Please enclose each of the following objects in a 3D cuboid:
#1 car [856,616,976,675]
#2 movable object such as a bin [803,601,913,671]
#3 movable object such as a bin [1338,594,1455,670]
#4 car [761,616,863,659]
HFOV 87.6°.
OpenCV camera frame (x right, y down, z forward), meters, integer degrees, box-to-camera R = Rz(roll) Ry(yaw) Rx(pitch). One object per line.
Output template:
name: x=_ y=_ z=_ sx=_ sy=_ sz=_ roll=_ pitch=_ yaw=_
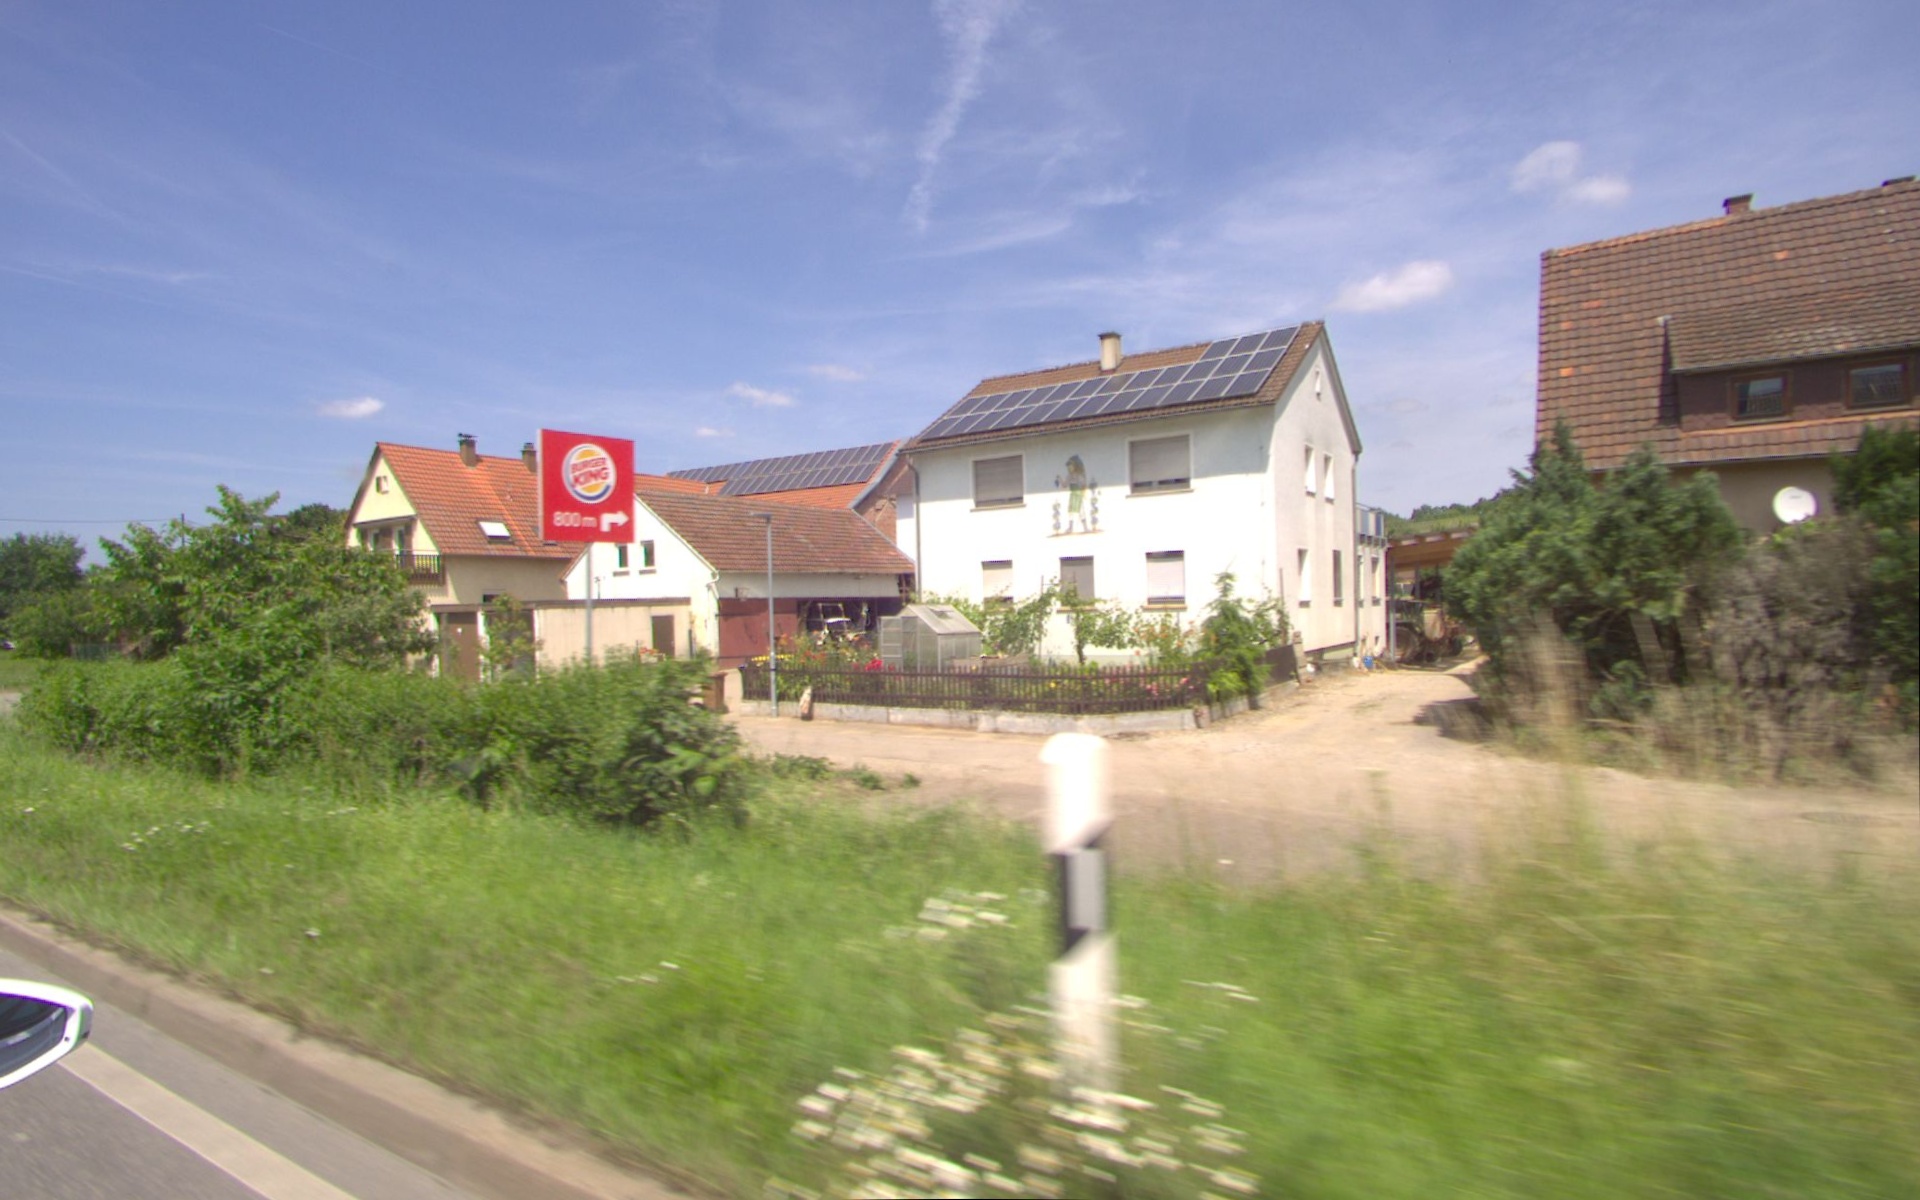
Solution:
car: x=-1.355 y=1.436 z=32.422 sx=1.820 sy=1.715 sz=3.935 roll=-2 pitch=-1 yaw=36
movable object such as a bin: x=-3.660 y=1.238 z=36.517 sx=2.052 sy=2.375 sz=3.696 roll=0 pitch=1 yaw=36
movable object such as a bin: x=17.388 y=1.235 z=39.921 sx=3.942 sy=2.798 sz=1.831 roll=2 pitch=0 yaw=33
car: x=-5.986 y=1.517 z=40.464 sx=3.946 sy=1.639 sz=1.749 roll=-2 pitch=-2 yaw=35
